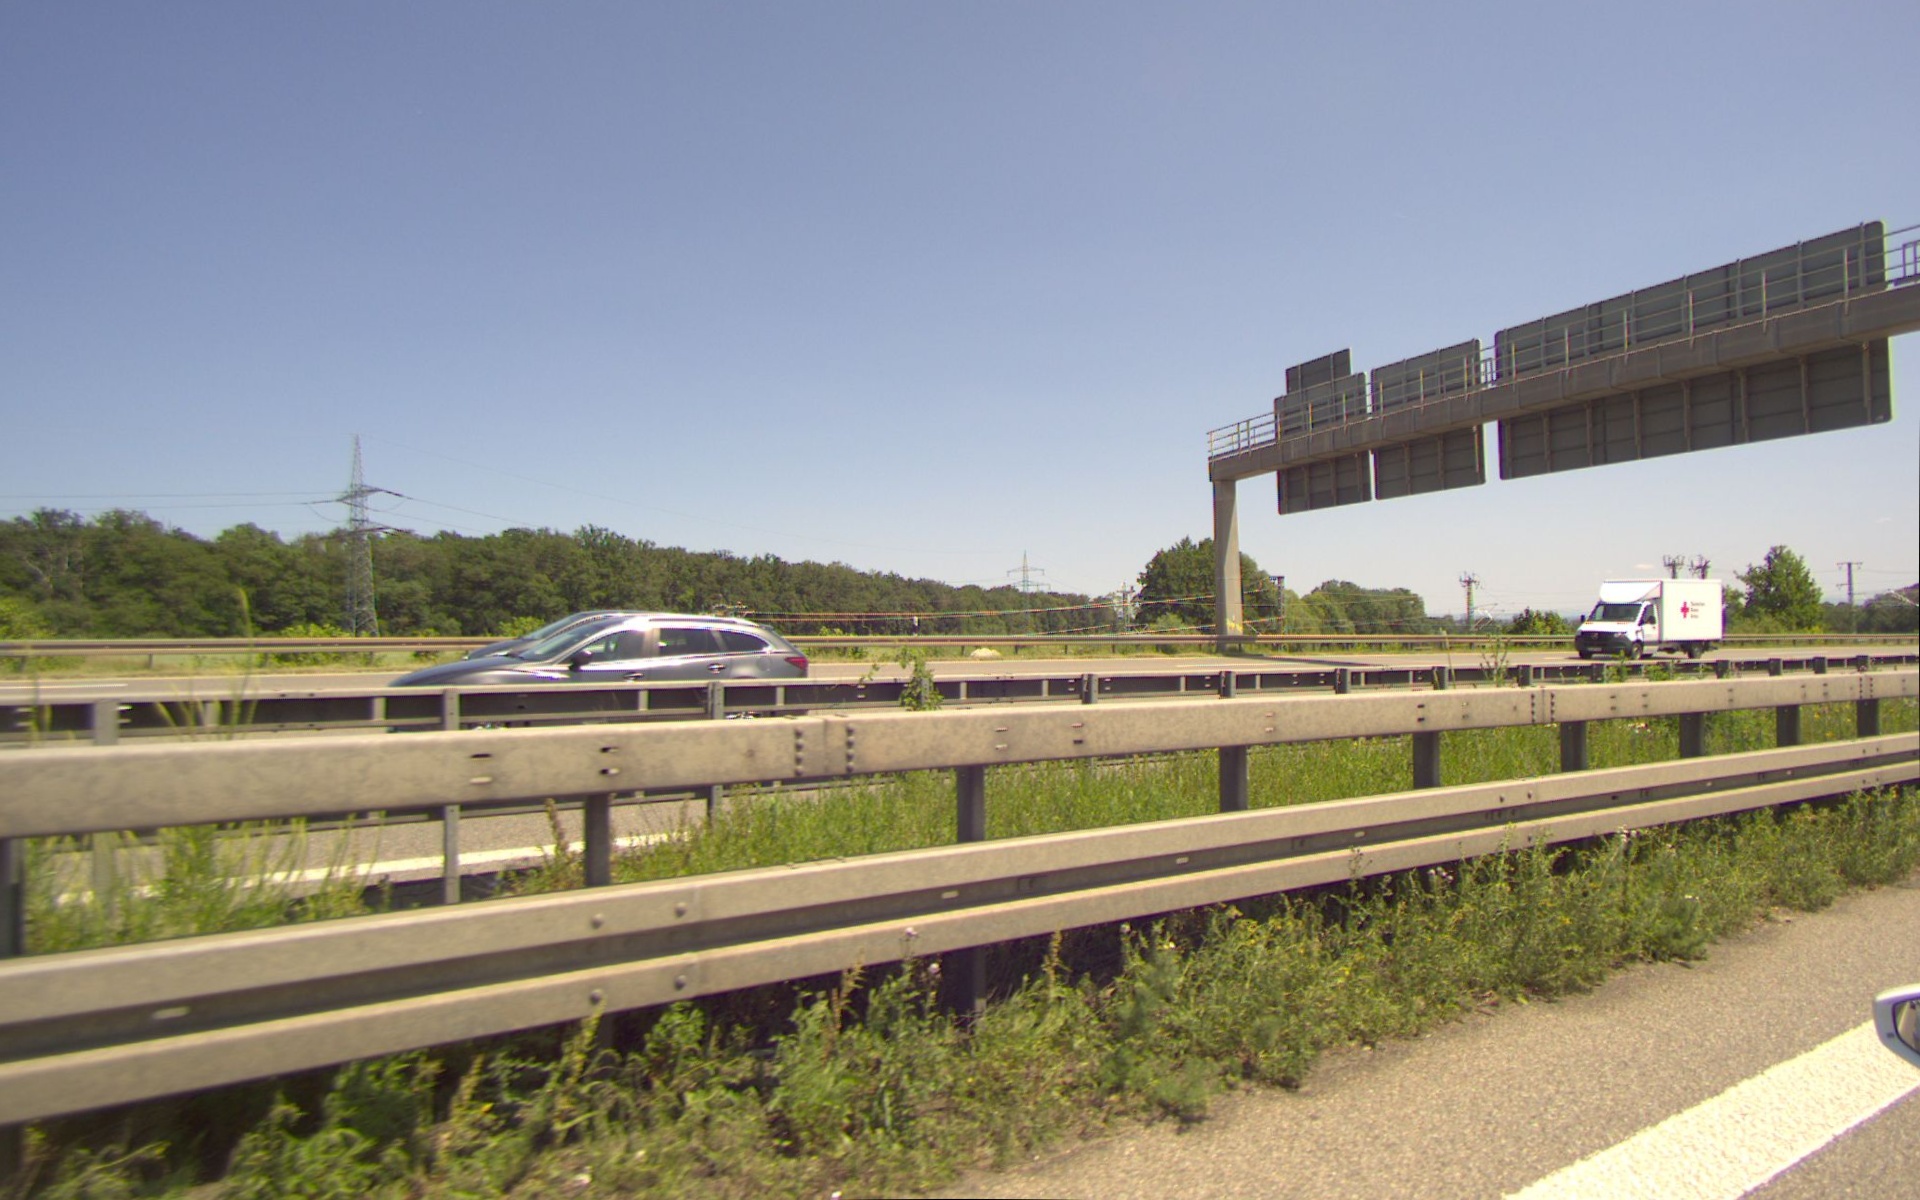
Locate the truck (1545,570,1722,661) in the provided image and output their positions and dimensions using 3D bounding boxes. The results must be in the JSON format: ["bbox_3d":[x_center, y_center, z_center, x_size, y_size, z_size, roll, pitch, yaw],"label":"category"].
[{"bbox_3d":[25.880,0.627,38.474,8.015,3.209,2.310,1,-1,-30],"label":"truck"}]

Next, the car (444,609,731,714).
[{"bbox_3d":[-5.786,0.885,15.670,3.953,1.439,1.896,1,-1,-30],"label":"car"}]

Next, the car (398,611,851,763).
[{"bbox_3d":[-3.838,0.887,11.798,4.801,1.483,1.782,1,-1,-30],"label":"car"}]
